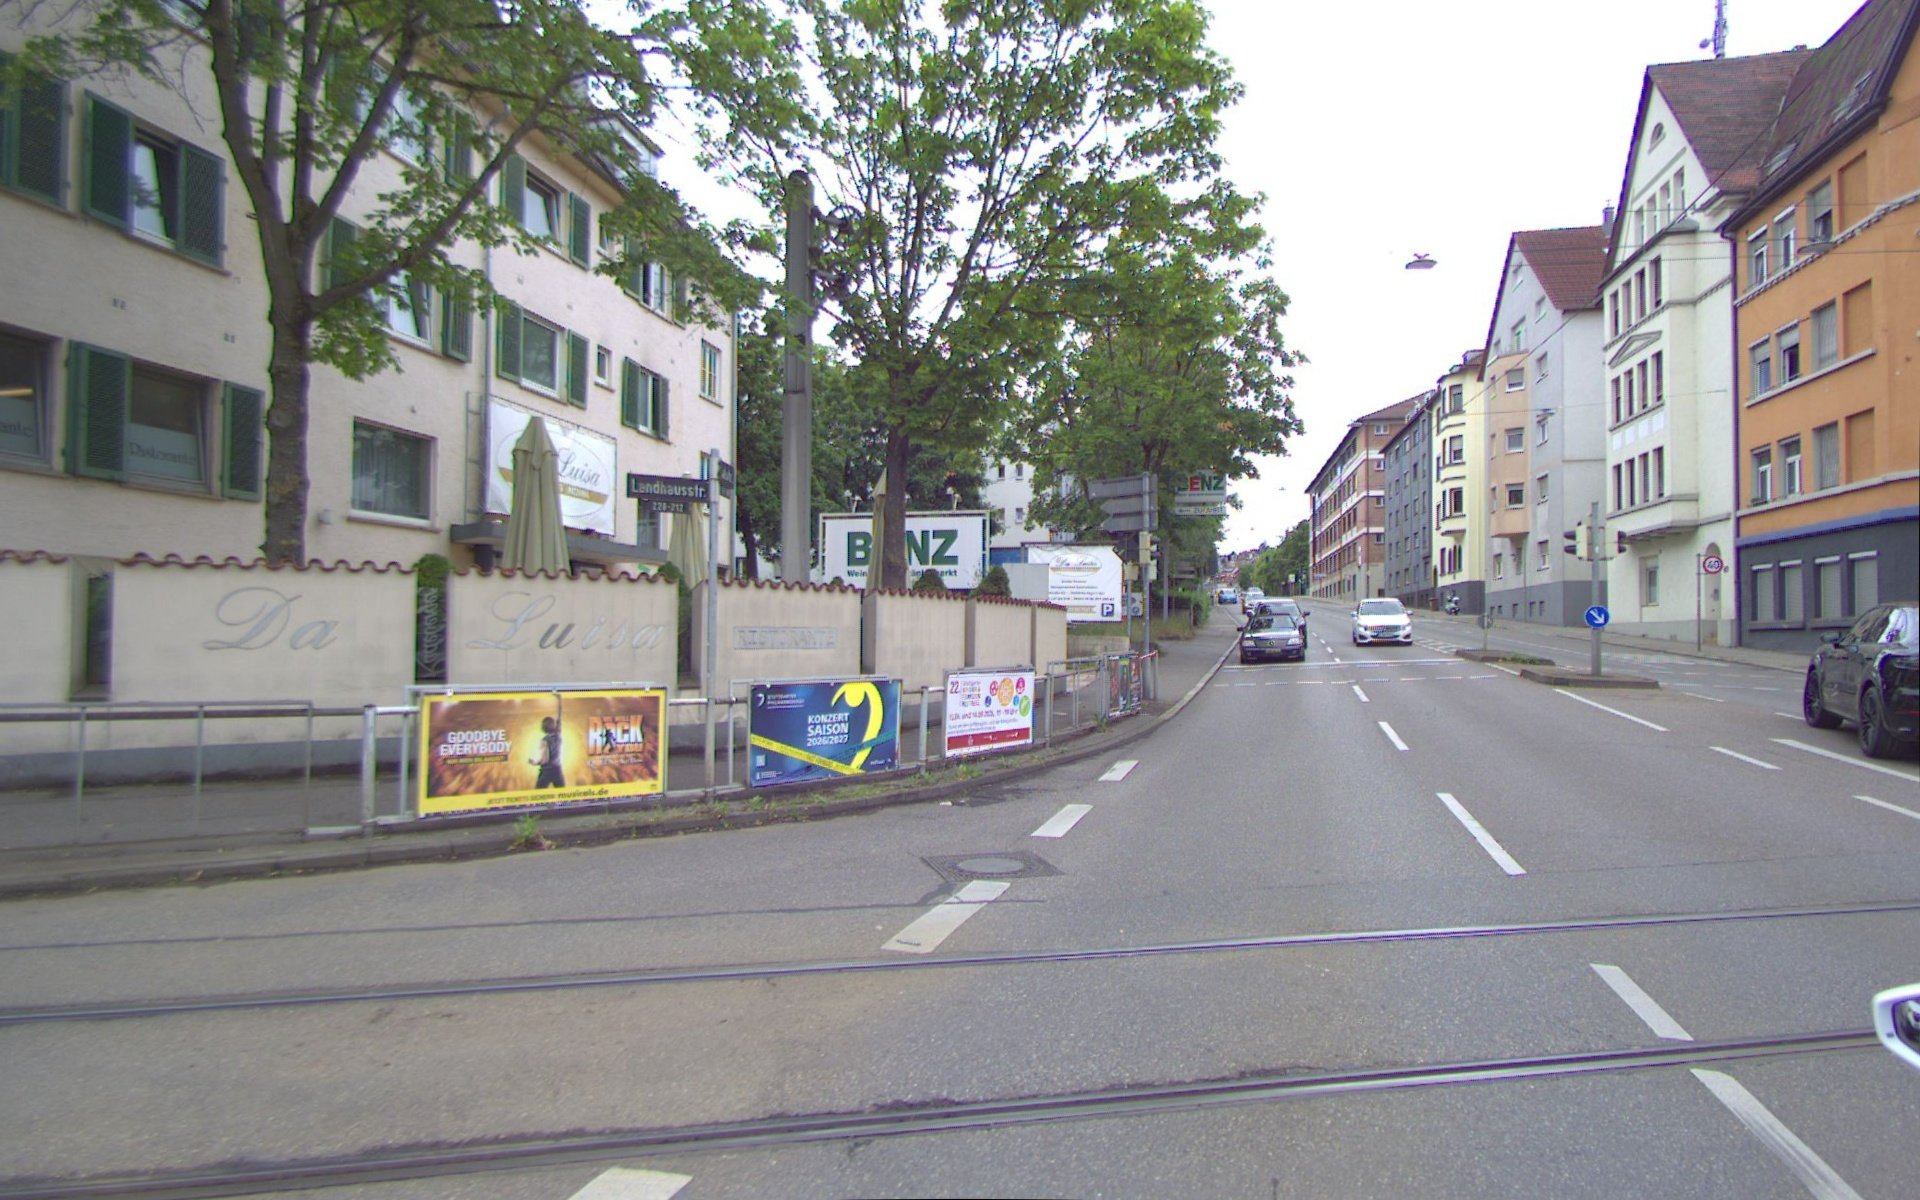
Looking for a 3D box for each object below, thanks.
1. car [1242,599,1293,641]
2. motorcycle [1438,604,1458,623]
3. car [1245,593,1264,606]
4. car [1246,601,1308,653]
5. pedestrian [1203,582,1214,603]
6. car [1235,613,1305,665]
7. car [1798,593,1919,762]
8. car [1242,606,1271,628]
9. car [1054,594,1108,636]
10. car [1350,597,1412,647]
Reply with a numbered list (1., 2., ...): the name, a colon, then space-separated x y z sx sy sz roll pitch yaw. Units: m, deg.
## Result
1. car: 13.095 0.815 42.916 1.919 1.615 4.499 -3 0 16
2. motorcycle: 31.409 0.851 64.640 0.528 1.171 2.227 -2 0 11
3. car: 33.304 -0.053 113.692 1.808 1.467 4.313 -1 0 14
4. car: 11.244 0.917 35.773 1.919 1.664 4.414 -3 0 16
5. pedestrian: 24.080 -0.695 97.345 0.867 1.976 0.868 3 1 13
6. car: 9.083 1.090 29.380 1.772 1.298 4.236 -3 0 18
7. car: 11.203 0.816 11.400 1.996 1.663 4.344 2 1 33
8. car: 21.594 1.211 73.227 1.808 1.467 4.313 -1 0 14
9. car: 4.870 0.556 40.082 1.678 1.521 4.002 3 1 13
10. car: 14.609 0.713 35.025 1.746 1.567 4.324 1 1 20
